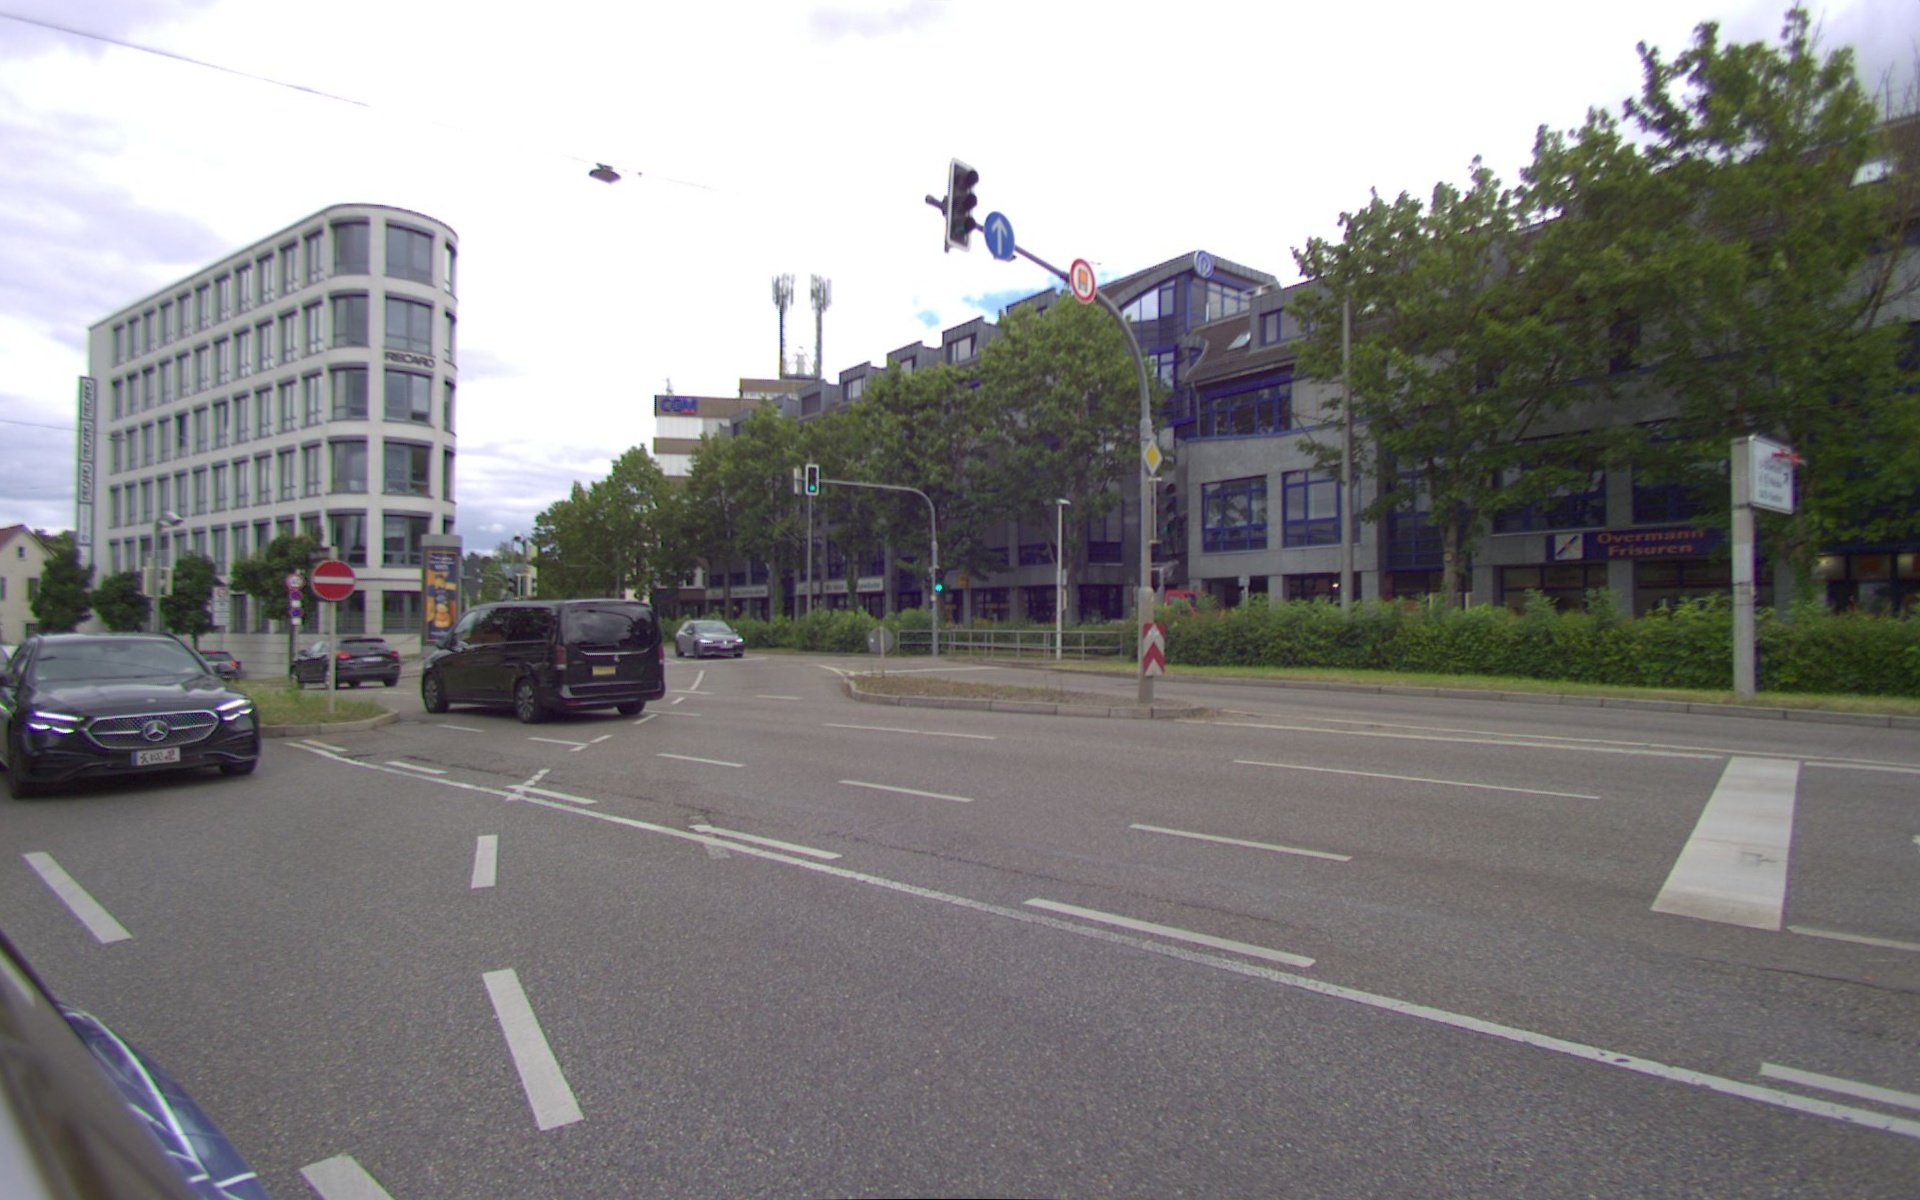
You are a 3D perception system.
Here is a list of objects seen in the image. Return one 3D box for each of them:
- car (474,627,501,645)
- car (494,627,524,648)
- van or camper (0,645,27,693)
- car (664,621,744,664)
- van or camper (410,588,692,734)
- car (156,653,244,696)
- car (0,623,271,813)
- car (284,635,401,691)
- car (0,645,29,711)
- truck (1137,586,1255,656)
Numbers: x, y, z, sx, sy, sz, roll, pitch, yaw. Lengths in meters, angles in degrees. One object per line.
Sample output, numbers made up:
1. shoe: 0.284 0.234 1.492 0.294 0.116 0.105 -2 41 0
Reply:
1. car: -41.764 3.148 89.362 1.689 1.474 4.454 -2 1 -30
2. car: -36.467 3.004 81.844 1.689 1.474 4.454 -2 1 -30
3. van or camper: -42.868 3.035 44.524 4.443 2.029 1.974 -3 -2 38
4. car: -9.956 1.612 39.135 1.751 1.474 4.453 -2 0 -30
5. van or camper: -6.601 0.868 15.992 5.245 1.952 1.907 -2 -1 40
6. car: -28.644 2.767 38.093 3.995 1.475 1.727 -2 -1 39
7. car: -8.934 1.047 10.553 4.332 1.541 1.854 -2 -1 41
8. car: -17.971 1.798 29.408 3.997 1.475 1.733 -2 -1 40
9. car: -24.812 2.003 24.982 3.990 1.542 1.858 -5 -3 34
10. truck: 8.741 0.828 37.806 1.966 2.405 4.012 -2 -2 -30
